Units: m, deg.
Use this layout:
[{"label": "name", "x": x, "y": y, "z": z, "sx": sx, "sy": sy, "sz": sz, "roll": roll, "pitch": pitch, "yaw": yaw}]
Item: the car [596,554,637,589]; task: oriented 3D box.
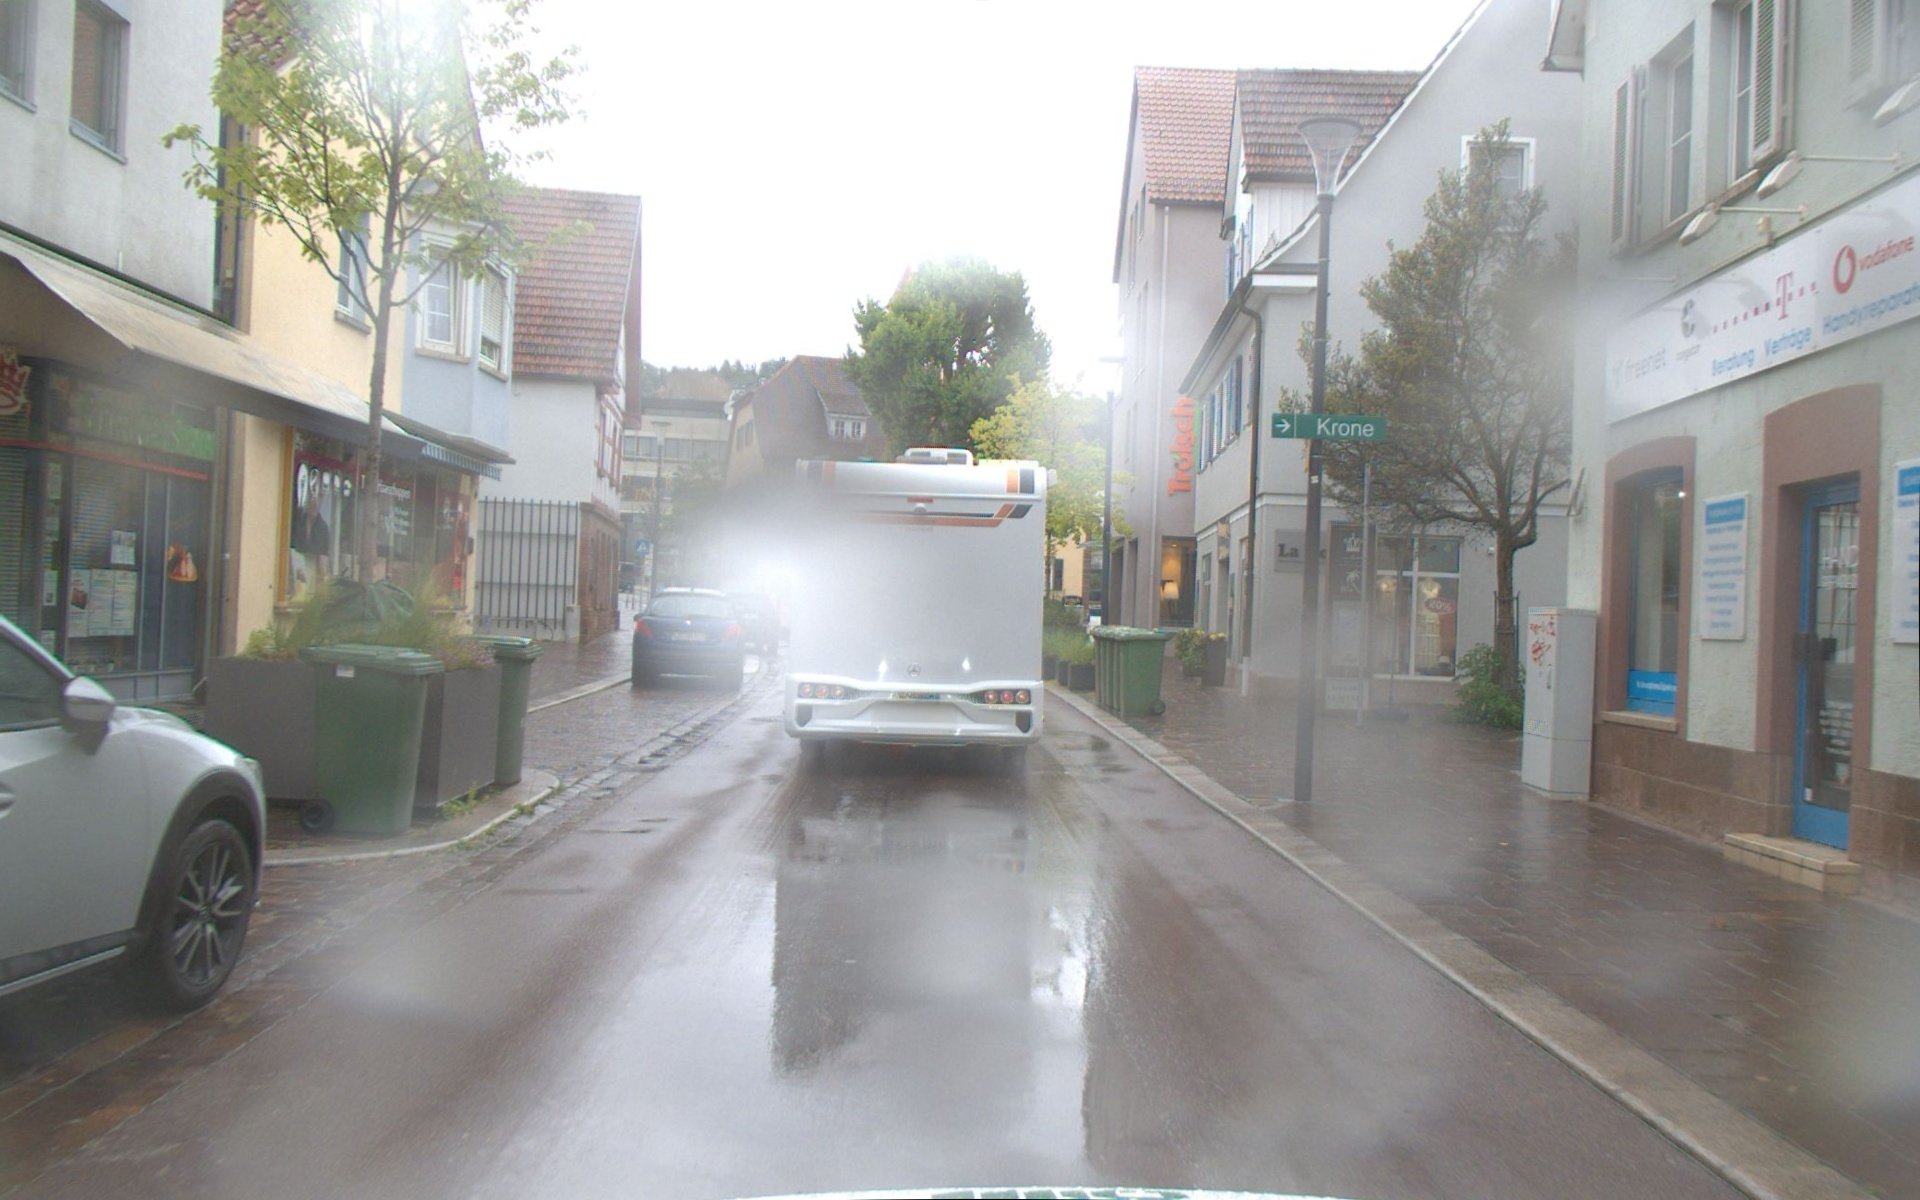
[{"label": "car", "x": -21.683, "y": -1.762, "z": 104.387, "sx": 1.964, "sy": 2.049, "sz": 3.977, "roll": 2, "pitch": -1, "yaw": -19}]

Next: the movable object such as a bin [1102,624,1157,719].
[{"label": "movable object such as a bin", "x": 2.343, "y": 0.980, "z": 22.922, "sx": 0.664, "sy": 1.278, "sz": 0.542, "roll": 1, "pitch": -1, "yaw": -2}]

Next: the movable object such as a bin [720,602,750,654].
[{"label": "movable object such as a bin", "x": -5.069, "y": 0.629, "z": 37.246, "sx": 0.618, "sy": 1.133, "sz": 0.732, "roll": 2, "pitch": -1, "yaw": -10}]

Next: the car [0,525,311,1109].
[{"label": "car", "x": -3.498, "y": 0.572, "z": 4.564, "sx": 1.790, "sy": 1.594, "sz": 3.999, "roll": 1, "pitch": -1, "yaw": 0}]

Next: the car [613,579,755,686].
[{"label": "car", "x": -4.305, "y": 0.466, "z": 26.323, "sx": 1.955, "sy": 1.497, "sz": 3.994, "roll": 3, "pitch": 0, "yaw": -7}]

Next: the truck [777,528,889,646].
[{"label": "truck", "x": -3.615, "y": -0.290, "z": 45.695, "sx": 2.417, "sy": 2.991, "sz": 6.182, "roll": 2, "pitch": -1, "yaw": -10}]

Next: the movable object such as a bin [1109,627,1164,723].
[{"label": "movable object such as a bin", "x": 2.385, "y": 1.008, "z": 22.368, "sx": 0.645, "sy": 1.267, "sz": 0.542, "roll": 1, "pitch": -1, "yaw": -2}]

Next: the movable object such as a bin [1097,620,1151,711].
[{"label": "movable object such as a bin", "x": 2.322, "y": 0.927, "z": 23.487, "sx": 0.664, "sy": 1.254, "sz": 0.564, "roll": 1, "pitch": -1, "yaw": -2}]

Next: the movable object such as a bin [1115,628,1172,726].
[{"label": "movable object such as a bin", "x": 2.410, "y": 1.001, "z": 21.782, "sx": 0.645, "sy": 1.260, "sz": 0.621, "roll": 1, "pitch": -1, "yaw": -2}]

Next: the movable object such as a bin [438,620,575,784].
[{"label": "movable object such as a bin", "x": -3.360, "y": 0.748, "z": 12.314, "sx": 0.799, "sy": 1.125, "sz": 0.609, "roll": 5, "pitch": -2, "yaw": -6}]

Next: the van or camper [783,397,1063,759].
[{"label": "van or camper", "x": -0.509, "y": -0.131, "z": 17.035, "sx": 2.280, "sy": 2.970, "sz": 6.387, "roll": 2, "pitch": -1, "yaw": -4}]

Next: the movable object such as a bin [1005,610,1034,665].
[{"label": "movable object such as a bin", "x": 1.286, "y": 0.812, "z": 35.922, "sx": 0.533, "sy": 1.176, "sz": 0.576, "roll": 2, "pitch": -1, "yaw": -4}]

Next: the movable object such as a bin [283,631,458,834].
[{"label": "movable object such as a bin", "x": -3.415, "y": 0.757, "z": 9.641, "sx": 0.799, "sy": 1.125, "sz": 0.609, "roll": 2, "pitch": -1, "yaw": -6}]

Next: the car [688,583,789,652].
[{"label": "car", "x": -5.568, "y": 0.401, "z": 41.186, "sx": 1.960, "sy": 1.520, "sz": 3.985, "roll": 3, "pitch": 0, "yaw": -15}]

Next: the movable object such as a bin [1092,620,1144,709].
[{"label": "movable object such as a bin", "x": 2.298, "y": 0.934, "z": 24.061, "sx": 0.664, "sy": 1.272, "sz": 0.564, "roll": 1, "pitch": -1, "yaw": -2}]

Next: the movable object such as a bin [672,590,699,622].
[{"label": "movable object such as a bin", "x": -9.382, "y": 0.217, "z": 56.491, "sx": 0.805, "sy": 1.069, "sz": 0.696, "roll": 2, "pitch": -1, "yaw": -17}]

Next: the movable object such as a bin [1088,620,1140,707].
[{"label": "movable object such as a bin", "x": 2.289, "y": 0.942, "z": 24.716, "sx": 0.664, "sy": 1.262, "sz": 0.731, "roll": 1, "pitch": -1, "yaw": -2}]
